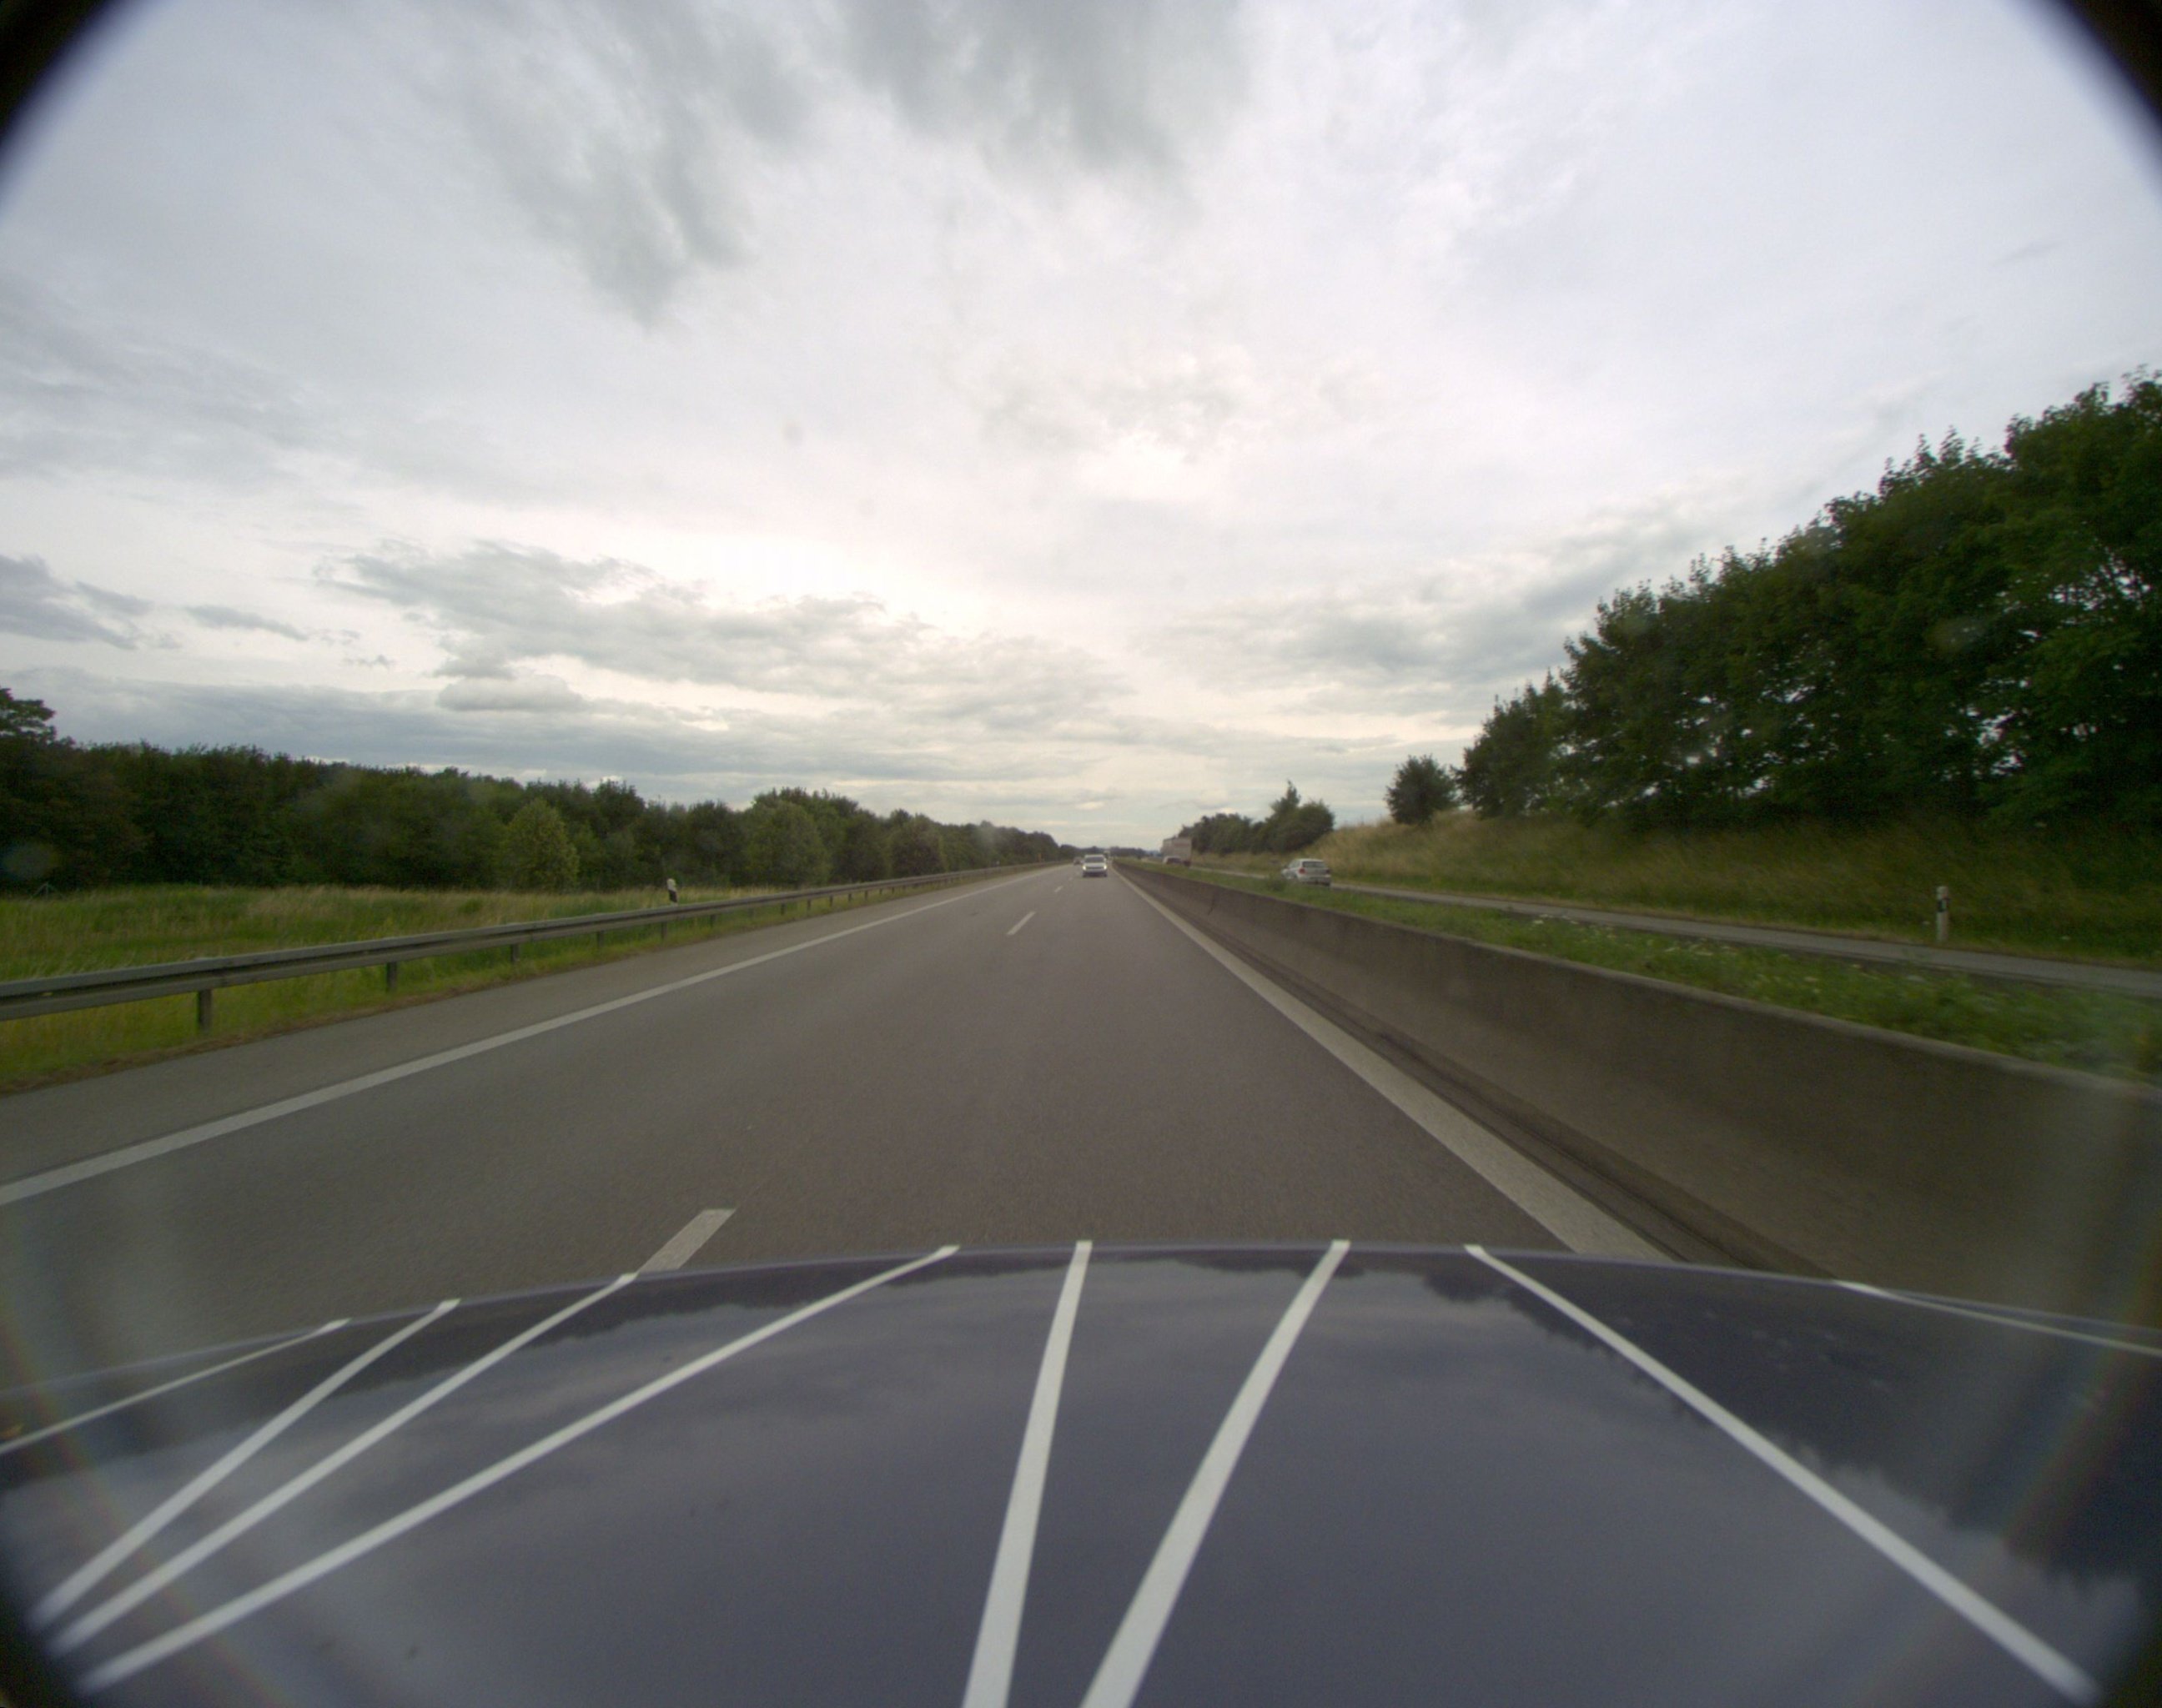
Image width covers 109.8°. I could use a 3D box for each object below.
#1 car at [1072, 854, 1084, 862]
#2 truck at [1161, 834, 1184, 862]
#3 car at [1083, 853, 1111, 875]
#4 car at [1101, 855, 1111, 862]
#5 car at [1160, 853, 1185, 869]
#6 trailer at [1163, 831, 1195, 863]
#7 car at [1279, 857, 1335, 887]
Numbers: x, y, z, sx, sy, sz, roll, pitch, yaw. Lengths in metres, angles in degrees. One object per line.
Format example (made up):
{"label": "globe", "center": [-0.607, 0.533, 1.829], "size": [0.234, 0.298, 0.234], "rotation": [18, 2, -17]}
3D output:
{"label": "car", "center": [-0.591, 0.791, 146.563], "size": [1.915, 1.553, 4.290], "rotation": [-1, 0, 5]}
{"label": "truck", "center": [13.475, -0.845, 112.030], "size": [2.713, 4.065, 5.165], "rotation": [1, 0, 1]}
{"label": "car", "center": [1.153, 0.695, 56.136], "size": [1.916, 1.553, 4.288], "rotation": [-1, 0, 0]}
{"label": "car", "center": [5.531, 0.948, 164.834], "size": [1.915, 1.553, 4.290], "rotation": [-1, 0, 5]}
{"label": "car", "center": [8.413, 0.645, 70.113], "size": [1.852, 1.370, 4.600], "rotation": [1, 0, 1]}
{"label": "trailer", "center": [13.349, -0.864, 104.883], "size": [2.713, 4.064, 14.597], "rotation": [1, 0, 1]}
{"label": "car", "center": [11.358, 0.871, 38.439], "size": [1.650, 1.401, 3.887], "rotation": [1, 0, 0]}
